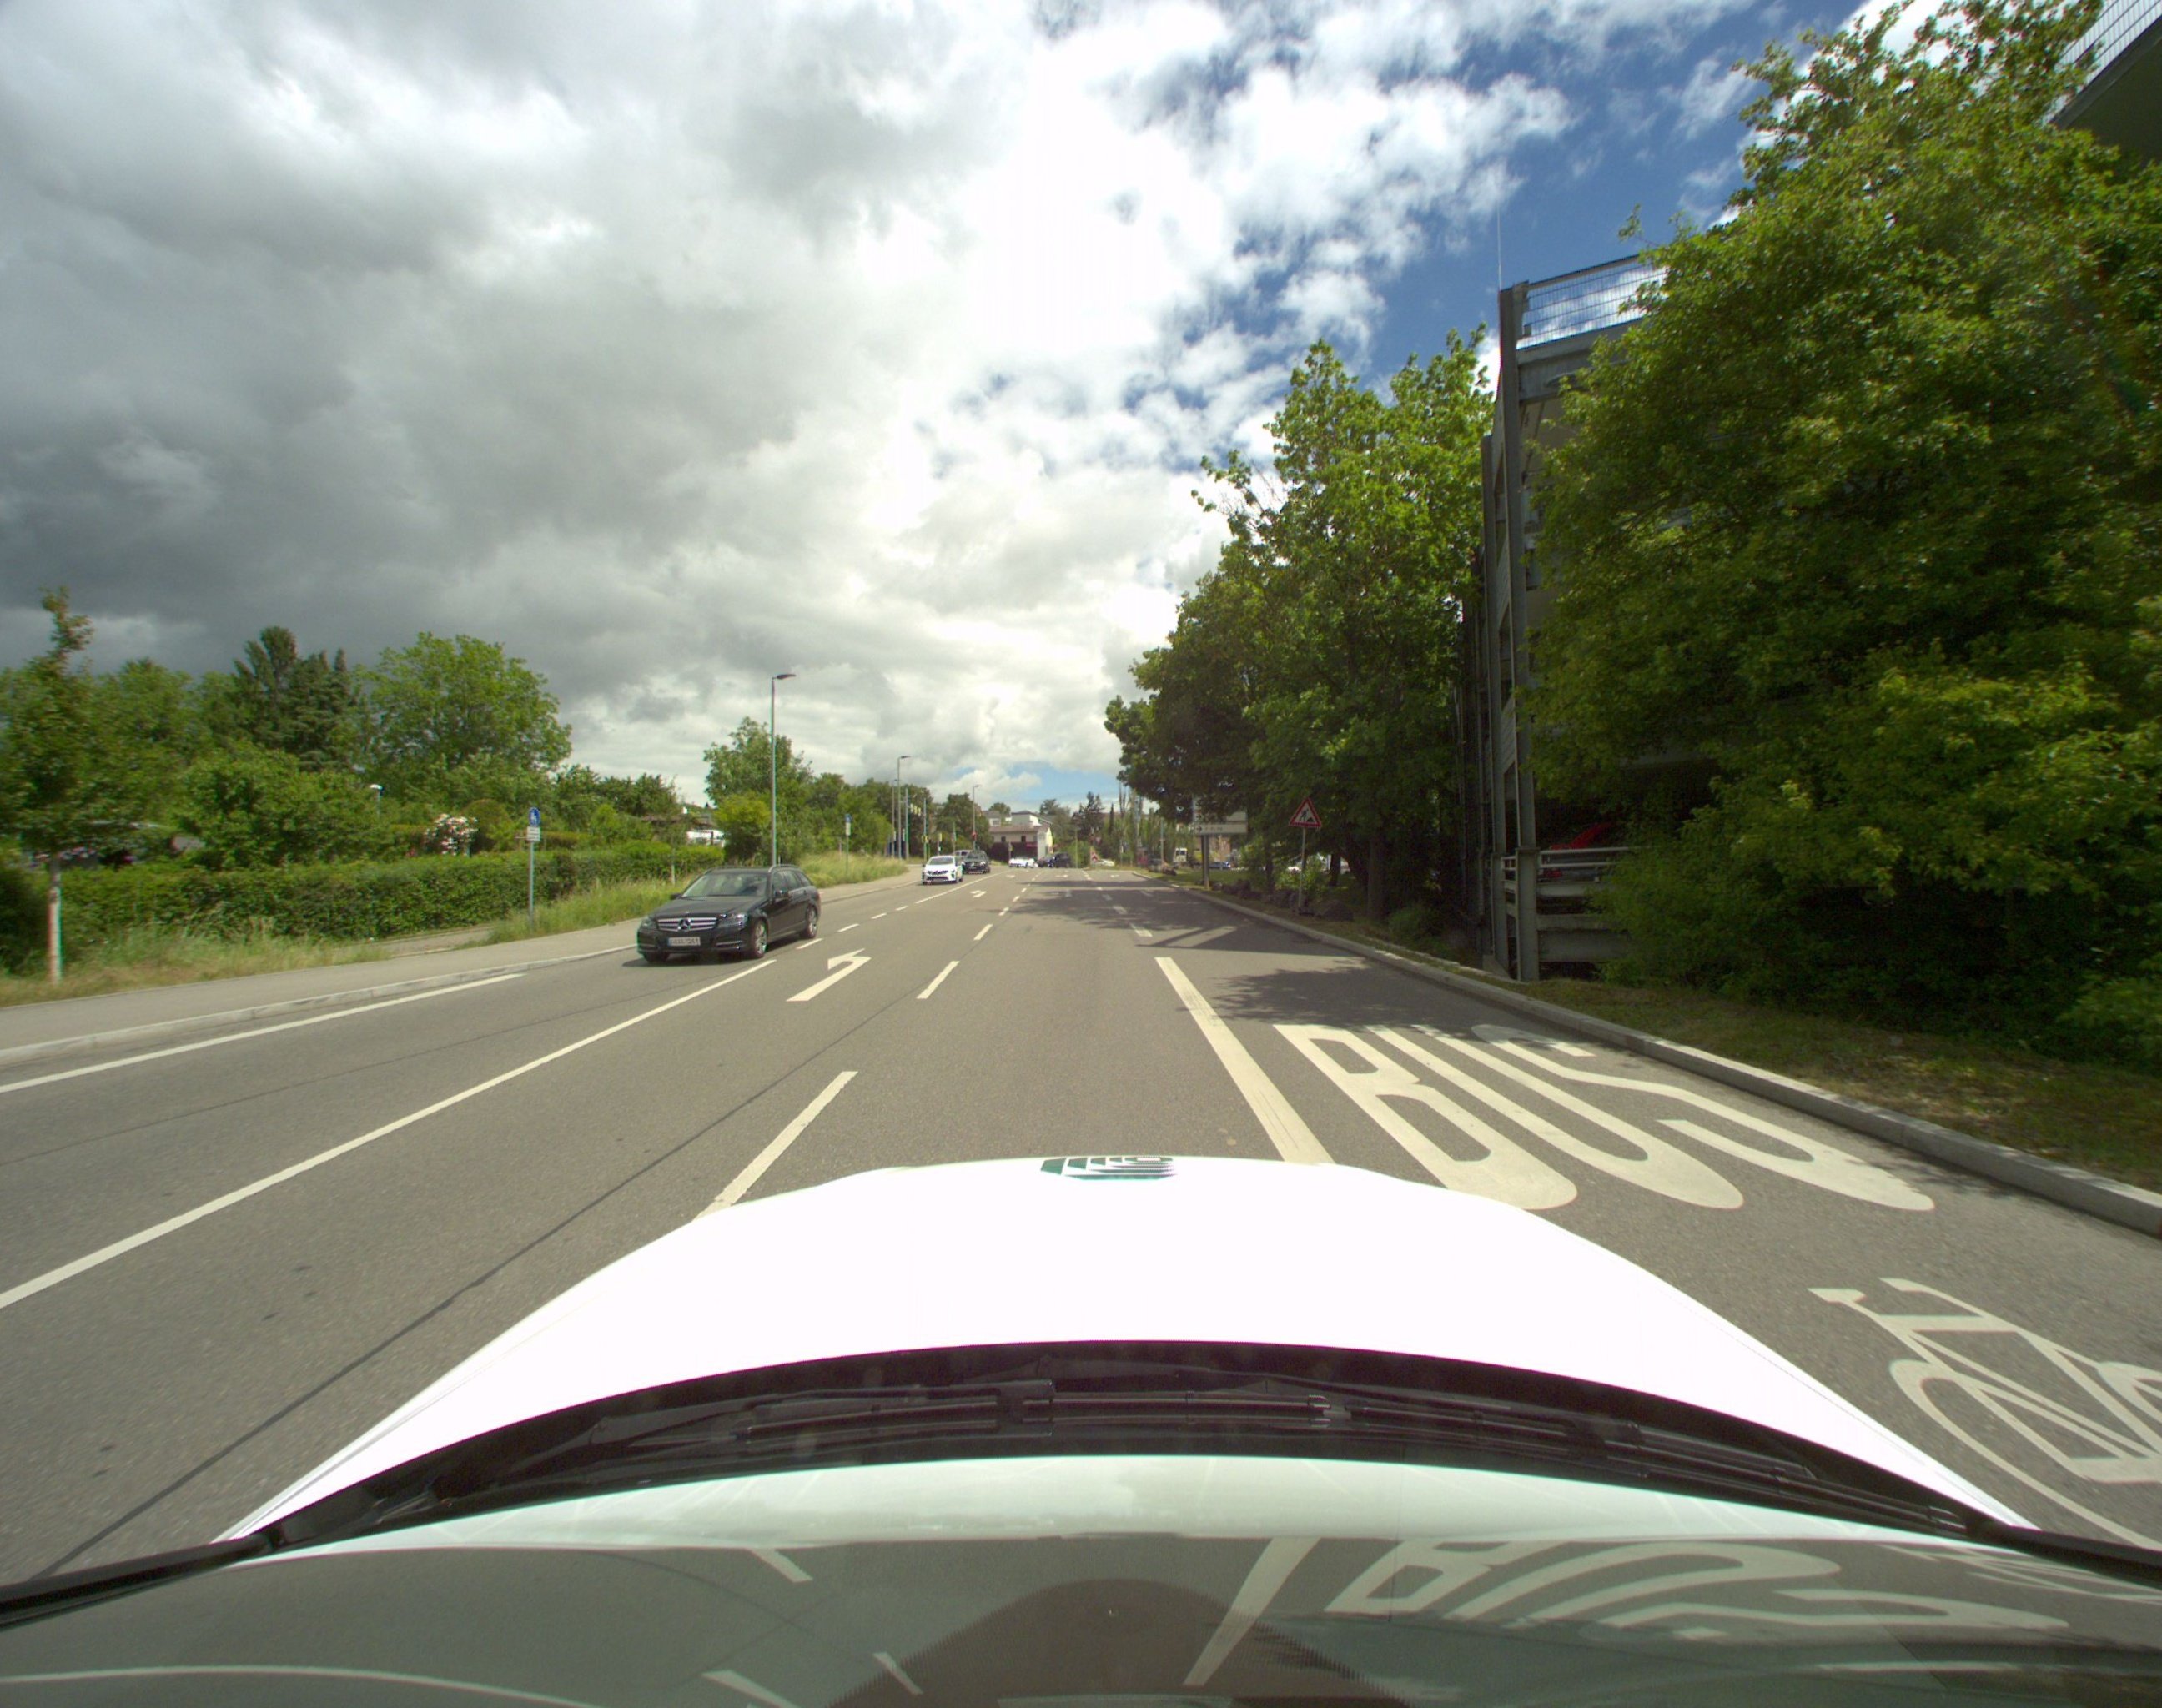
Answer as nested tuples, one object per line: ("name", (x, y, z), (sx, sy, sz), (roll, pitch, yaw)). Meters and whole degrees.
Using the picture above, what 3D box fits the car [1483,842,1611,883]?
("car", (16.734, 0.324, 29.453), (3.810, 1.392, 1.704), (-1, -1, 23))

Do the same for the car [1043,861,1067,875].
("car", (-4.019, 2.158, 125.637), (1.912, 1.860, 3.771), (-2, -2, -32))

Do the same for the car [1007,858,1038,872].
("car", (-6.064, 1.134, 85.218), (1.891, 1.291, 4.627), (-2, -1, 14))

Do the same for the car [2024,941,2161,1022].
("car", (22.622, 2.600, 16.753), (3.810, 1.447, 1.704), (-3, -1, 23))

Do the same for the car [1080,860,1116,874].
("car", (2.441, 1.830, 114.541), (4.751, 1.779, 1.801), (-1, -3, 25))

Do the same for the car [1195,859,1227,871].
("car", (16.613, 1.364, 104.146), (3.970, 1.400, 1.698), (1, -1, 3))

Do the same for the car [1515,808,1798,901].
("car", (10.134, 0.050, 14.709), (3.812, 1.514, 1.846), (-1, -1, 20))

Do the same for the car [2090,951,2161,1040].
("car", (21.794, 2.598, 14.883), (3.810, 1.447, 1.704), (-3, -1, 23))

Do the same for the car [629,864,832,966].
("car", (-5.895, 0.932, 14.332), (1.762, 1.442, 4.373), (-2, 0, -2))

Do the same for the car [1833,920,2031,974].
("car", (25.940, 2.827, 25.002), (3.810, 1.447, 1.704), (-3, -1, 23))

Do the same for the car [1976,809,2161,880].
("car", (23.740, -0.234, 18.744), (3.810, 1.486, 1.704), (-3, -1, 23))

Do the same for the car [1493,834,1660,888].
("car", (13.836, 0.219, 22.993), (3.810, 1.392, 1.704), (-1, -1, 23))

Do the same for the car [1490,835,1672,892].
("car", (12.896, 0.264, 21.287), (3.810, 1.392, 1.704), (-1, -1, 23))

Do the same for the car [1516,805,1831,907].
("car", (8.960, 0.062, 12.703), (3.659, 1.412, 1.668), (-1, -1, 21))

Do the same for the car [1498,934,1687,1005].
("car", (12.948, 2.893, 20.905), (3.812, 1.453, 1.846), (-1, -1, 21))

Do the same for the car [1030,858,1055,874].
("car", (-4.418, 1.451, 93.990), (1.774, 1.779, 4.824), (0, -2, 10))

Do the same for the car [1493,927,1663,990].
("car", (13.901, 2.894, 23.022), (3.812, 1.453, 1.846), (-1, -1, 21))

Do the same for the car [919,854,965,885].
("car", (-7.148, 0.782, 42.261), (1.762, 1.442, 3.896), (-2, 0, -2))

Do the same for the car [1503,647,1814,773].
("car", (8.676, -2.121, 12.633), (3.658, 1.411, 1.669), (-1, 1, 24))

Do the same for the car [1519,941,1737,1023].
("car", (12.301, 2.852, 18.614), (3.812, 1.453, 1.846), (-1, -1, 21))

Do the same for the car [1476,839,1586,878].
("car", (18.516, 0.209, 33.715), (3.810, 1.490, 1.704), (-1, -1, 23))

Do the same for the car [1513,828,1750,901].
("car", (11.278, 0.241, 17.016), (3.810, 1.392, 1.823), (-1, -1, 23))

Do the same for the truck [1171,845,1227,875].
("truck", (15.558, 0.804, 107.822), (6.917, 3.579, 2.848), (-3, -1, 2))

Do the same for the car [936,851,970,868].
("car", (-16.691, 0.726, 106.261), (3.973, 2.014, 2.000), (-3, -1, 1))

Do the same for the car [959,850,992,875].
("car", (-7.678, 0.601, 59.808), (1.815, 1.654, 4.531), (-2, 0, -1))

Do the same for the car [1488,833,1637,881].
("car", (14.925, 0.103, 25.483), (3.810, 1.392, 1.704), (-1, -1, 23))
